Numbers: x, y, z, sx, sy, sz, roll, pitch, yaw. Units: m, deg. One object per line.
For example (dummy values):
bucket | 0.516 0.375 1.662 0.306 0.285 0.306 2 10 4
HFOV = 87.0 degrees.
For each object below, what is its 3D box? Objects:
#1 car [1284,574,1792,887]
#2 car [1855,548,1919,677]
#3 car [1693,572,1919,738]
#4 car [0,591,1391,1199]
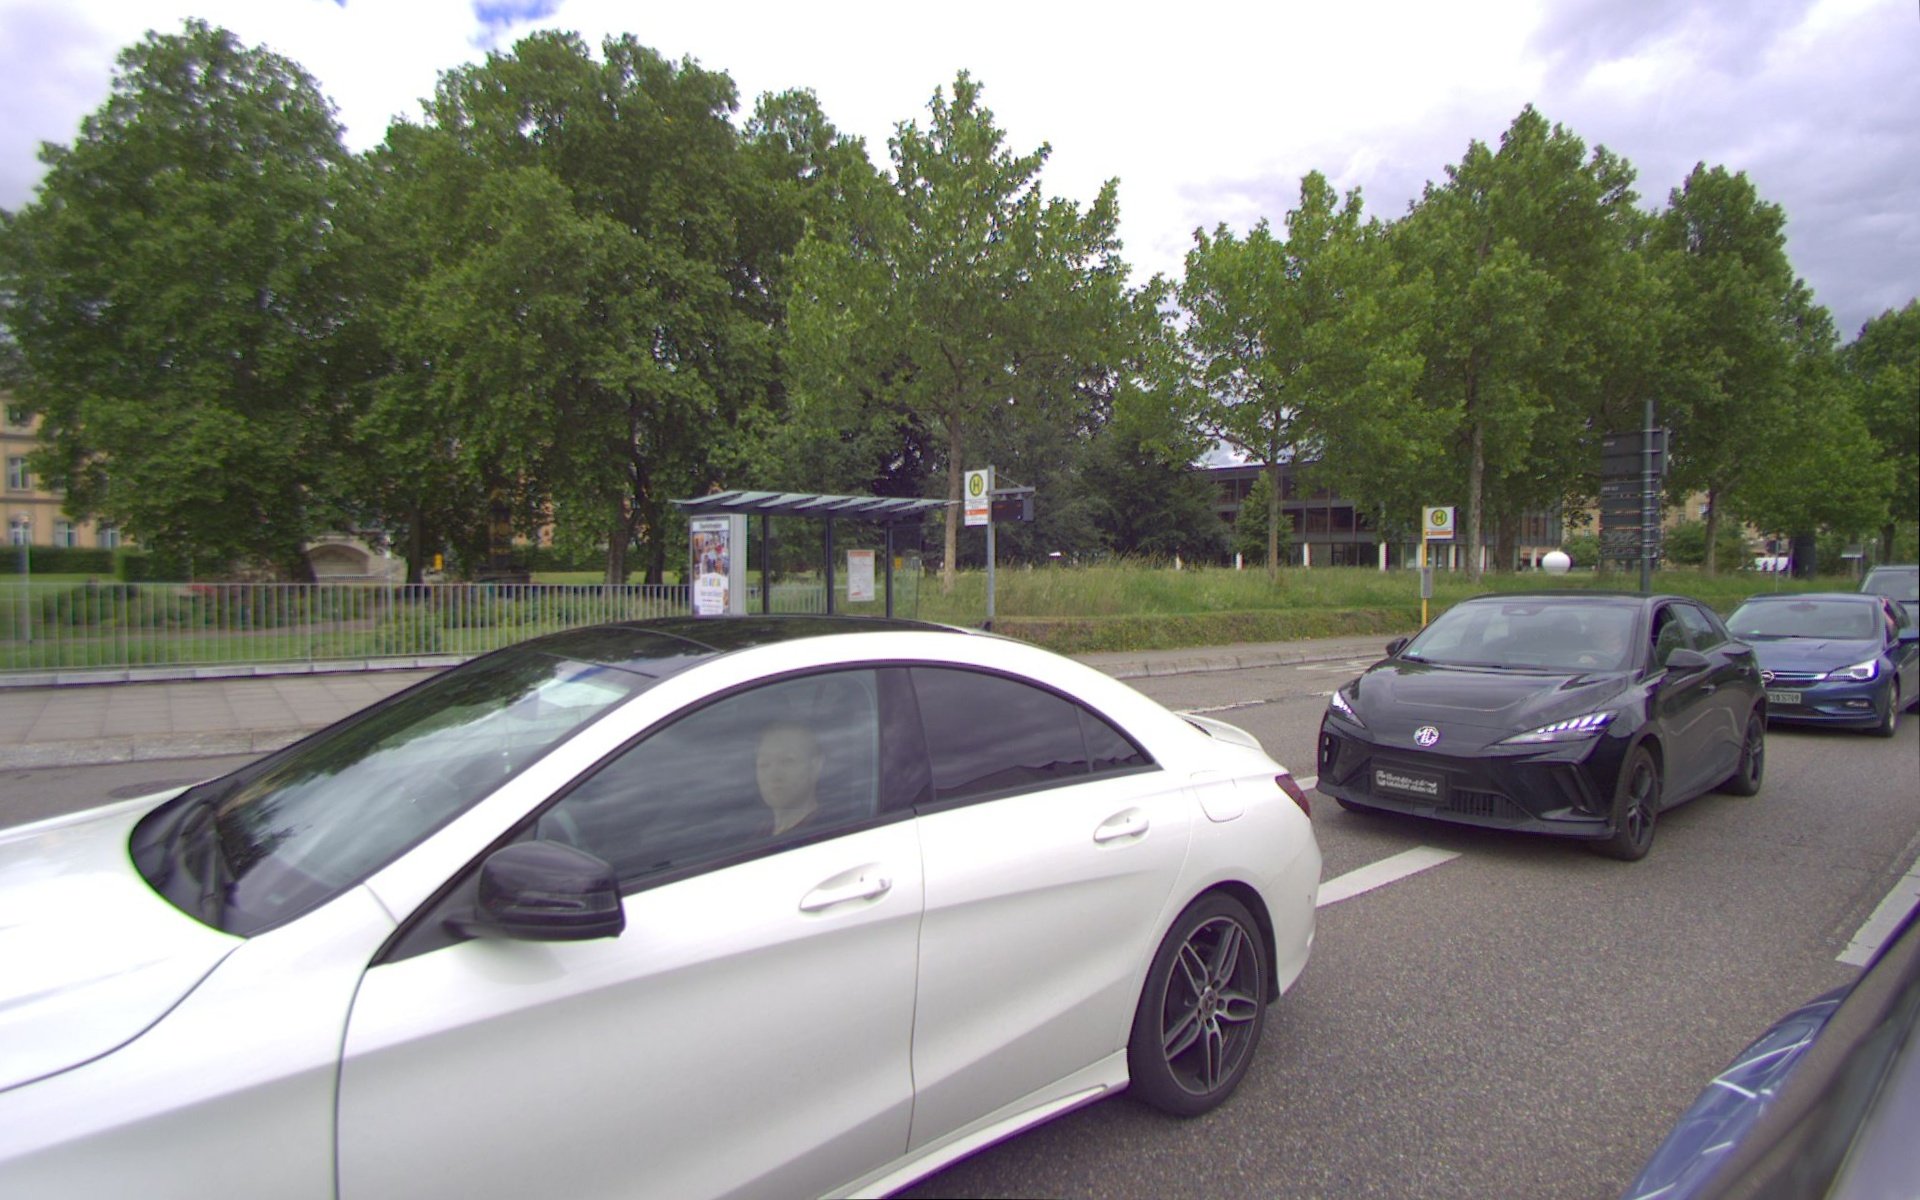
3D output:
car | 4.169 0.630 7.022 4.047 1.543 1.828 0 0 -41
car | 15.803 0.160 16.139 4.353 1.885 1.722 -1 1 -41
car | 9.778 0.481 11.380 3.930 1.556 1.572 -1 1 -40
car | -0.726 0.717 2.739 4.427 1.441 1.722 -1 1 -41
